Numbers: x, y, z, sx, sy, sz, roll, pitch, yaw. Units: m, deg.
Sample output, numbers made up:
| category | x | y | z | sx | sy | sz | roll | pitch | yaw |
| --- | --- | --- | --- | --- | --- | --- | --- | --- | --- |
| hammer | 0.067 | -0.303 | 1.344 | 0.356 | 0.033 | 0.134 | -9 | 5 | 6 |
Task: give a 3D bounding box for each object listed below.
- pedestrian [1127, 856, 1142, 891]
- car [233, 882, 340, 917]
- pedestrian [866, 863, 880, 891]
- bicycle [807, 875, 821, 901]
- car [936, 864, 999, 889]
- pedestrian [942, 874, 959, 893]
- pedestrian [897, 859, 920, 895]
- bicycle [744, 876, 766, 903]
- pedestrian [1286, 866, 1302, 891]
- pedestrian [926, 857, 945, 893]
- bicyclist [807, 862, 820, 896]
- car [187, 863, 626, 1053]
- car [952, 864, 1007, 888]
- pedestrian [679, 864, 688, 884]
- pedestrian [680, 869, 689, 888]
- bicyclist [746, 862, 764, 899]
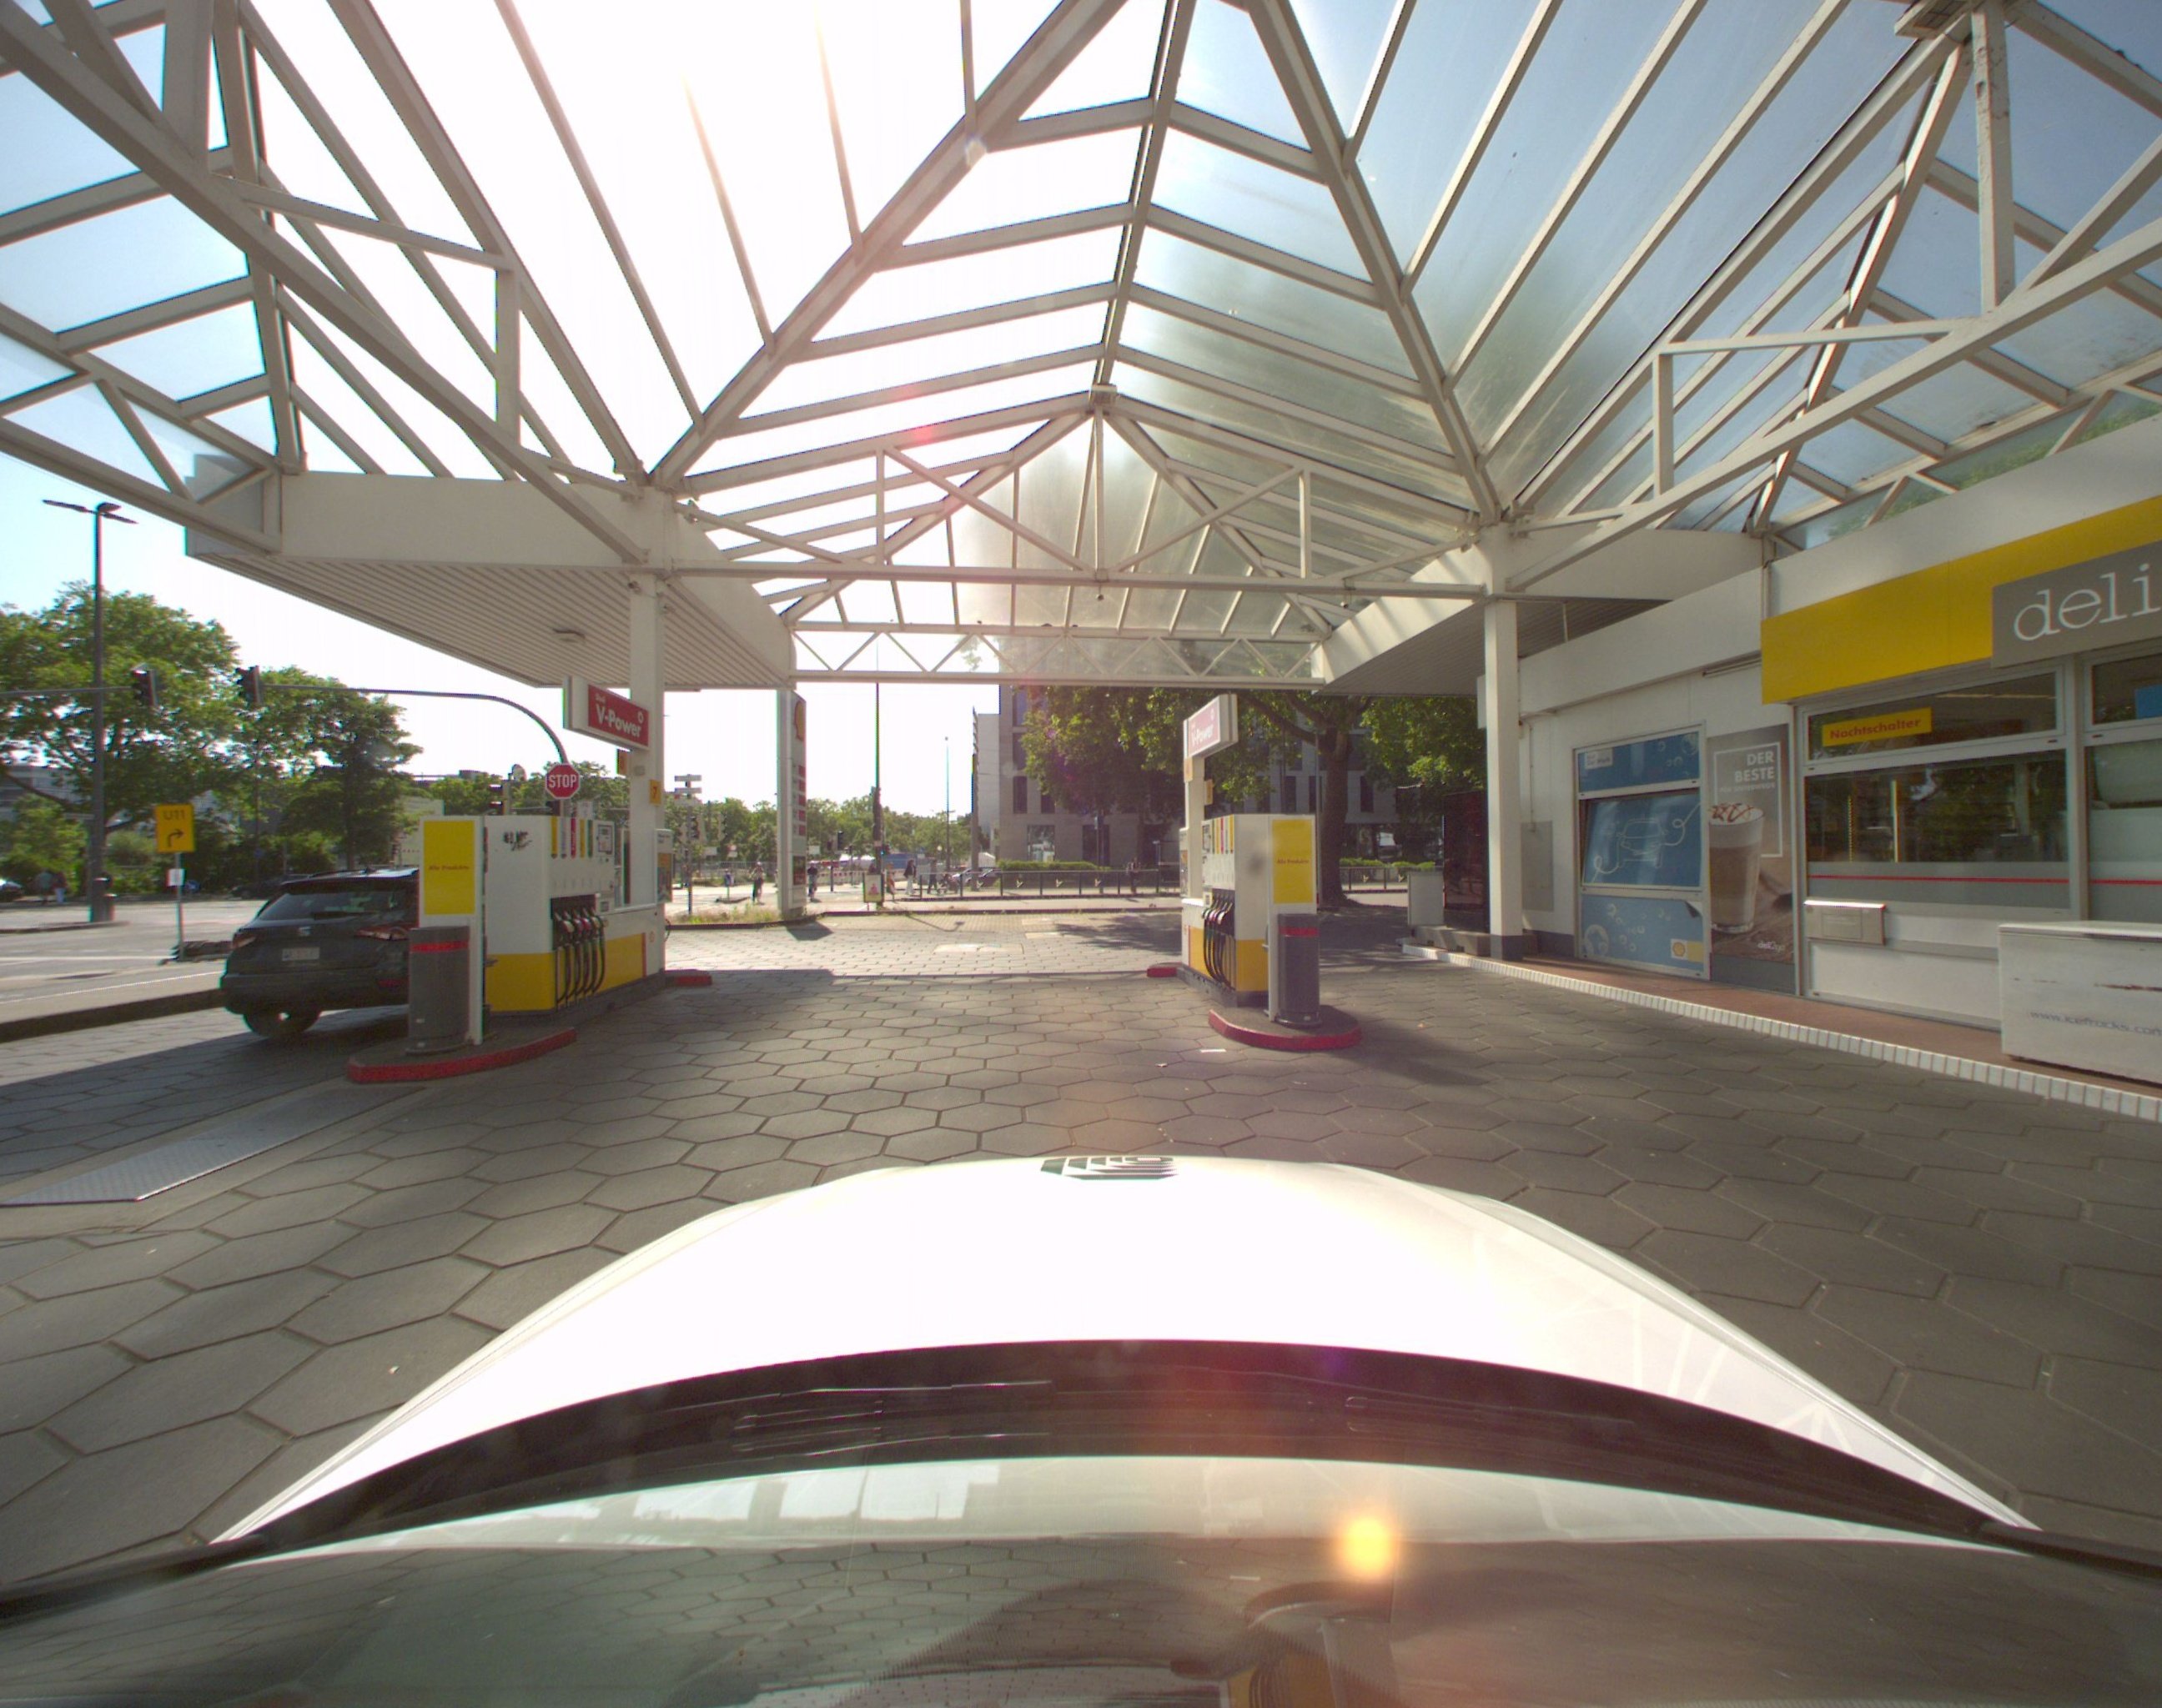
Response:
| category | x | y | z | sx | sy | sz | roll | pitch | yaw |
| --- | --- | --- | --- | --- | --- | --- | --- | --- | --- |
| pedestrian | 2.490 | 0.913 | 37.779 | 0.583 | 1.591 | 0.669 | -1 | 1 | -6 |
| car | -47.436 | 2.679 | 48.744 | 4.226 | 1.805 | 1.980 | -2 | -1 | -32 |
| pedestrian | -11.447 | 1.254 | 44.816 | 0.647 | 1.540 | 0.503 | -1 | -1 | 3 |
| bicycle | -12.190 | 1.523 | 37.144 | 0.525 | 1.082 | 1.854 | 0 | 1 | -21 |
| car | -7.322 | 1.439 | 52.409 | 3.989 | 1.552 | 1.696 | -1 | -1 | -12 |
| pedestrian | -6.120 | 1.391 | 38.342 | 0.688 | 0.880 | 0.503 | -1 | -1 | 3 |
| pedestrian | -8.116 | 1.062 | 38.343 | 0.928 | 1.683 | 0.503 | -1 | -1 | 3 |
| bicycle | -14.298 | 1.535 | 35.731 | 0.639 | 1.082 | 2.016 | 0 | 1 | -15 |
| pedestrian | 10.150 | 1.170 | 38.863 | 0.626 | 1.138 | 0.524 | -1 | -1 | 0 |
| pedestrian | -6.863 | 1.003 | 38.374 | 0.773 | 1.683 | 0.503 | -1 | -1 | 3 |
| bicyclist | -12.225 | 1.129 | 37.248 | 0.535 | 1.544 | 0.859 | 0 | -1 | -20 |
| car | -6.829 | 0.912 | 8.919 | 1.741 | 1.532 | 3.991 | -2 | -1 | -6 |
| car | -7.070 | 1.528 | 56.471 | 3.684 | 1.552 | 1.585 | -1 | -1 | -12 |
| pedestrian | -30.026 | 1.529 | 61.507 | 0.567 | 1.469 | 0.508 | 0 | -1 | -31 |
| pedestrian | -30.362 | 1.853 | 62.376 | 0.567 | 1.469 | 0.508 | 0 | -1 | -31 |
| bicyclist | -14.344 | 1.151 | 35.832 | 0.639 | 1.580 | 1.166 | 0 | -1 | -16 |
